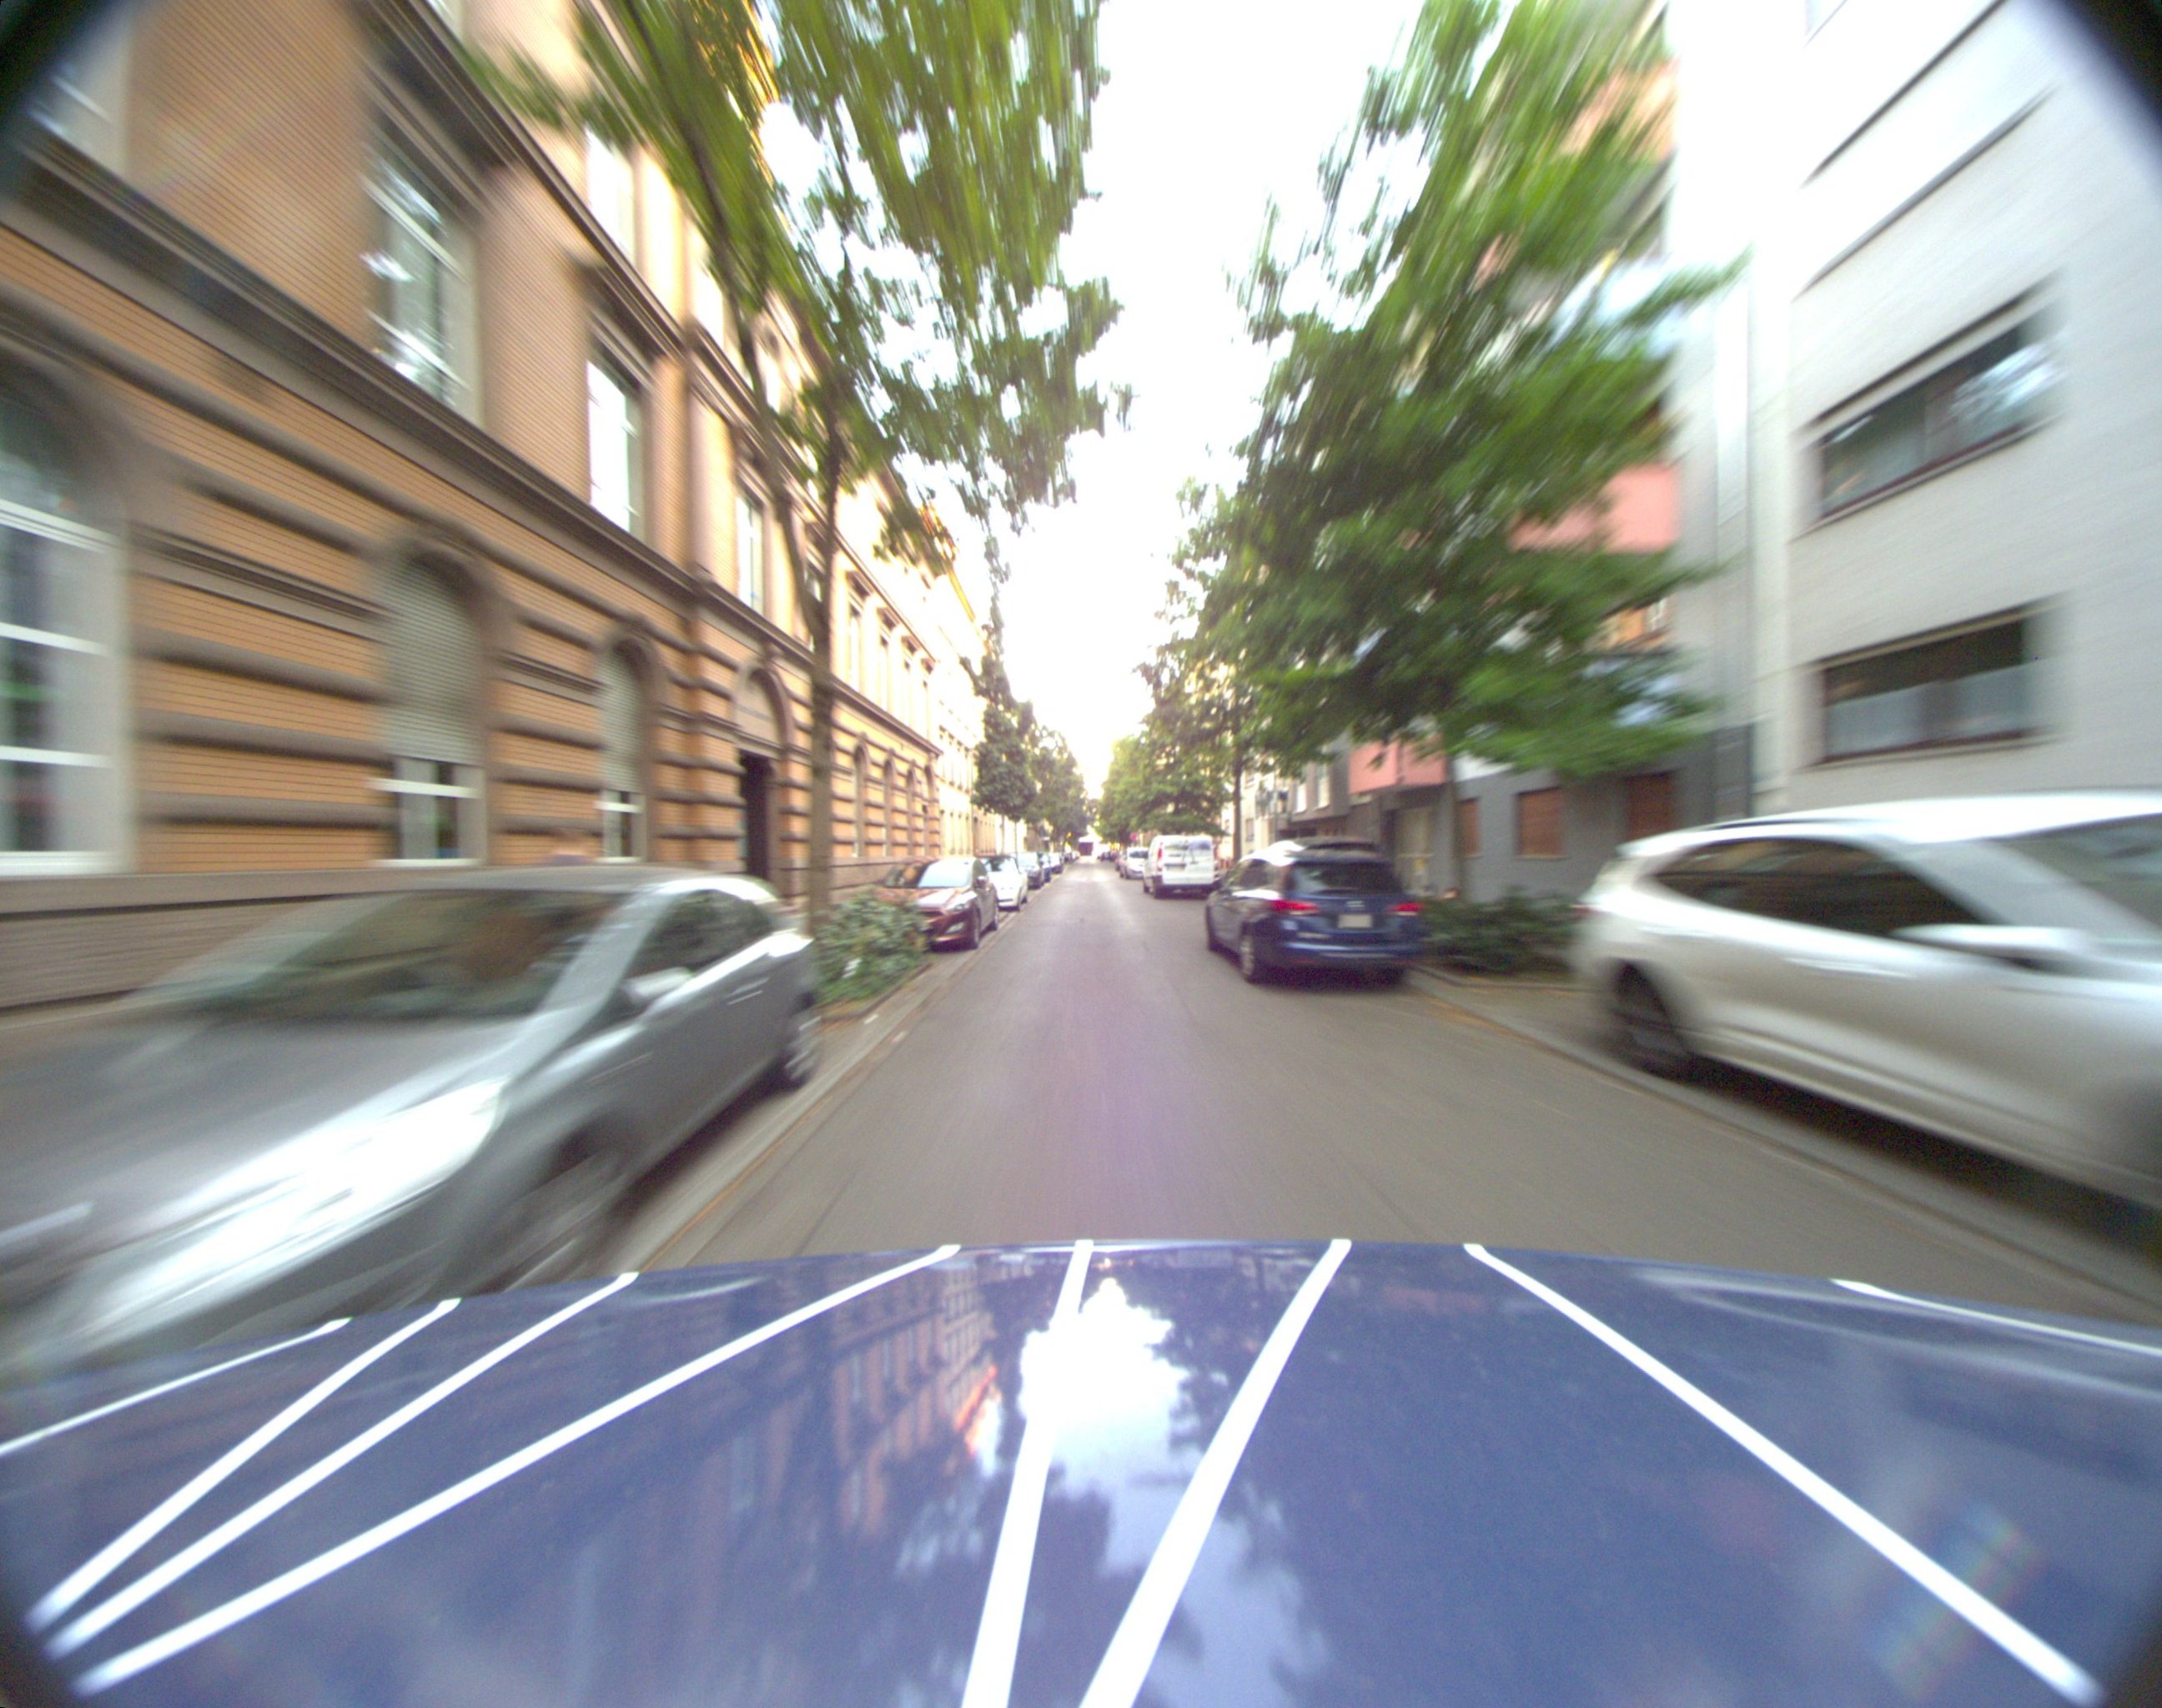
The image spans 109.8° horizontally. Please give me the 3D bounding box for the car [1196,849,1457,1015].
[{"bbox_3d":[2.727,0.746,9.628,1.835,1.508,4.515,-1,1,0],"label":"car"}]

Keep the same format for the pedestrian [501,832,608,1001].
[{"bbox_3d":[-5.313,0.610,7.695,0.628,1.639,0.531,-2,1,1],"label":"pedestrian"}]

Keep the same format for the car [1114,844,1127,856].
[{"bbox_3d":[5.428,-0.587,103.909,1.523,1.493,3.560,-3,1,0],"label":"car"}]

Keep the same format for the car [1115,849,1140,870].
[{"bbox_3d":[3.400,0.399,56.219,1.584,1.412,3.752,-1,1,0],"label":"car"}]

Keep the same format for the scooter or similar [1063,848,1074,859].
[{"bbox_3d":[-1.386,-0.094,85.954,0.673,1.183,1.118,2,2,40],"label":"scooter or similar"}]

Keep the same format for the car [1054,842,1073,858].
[{"bbox_3d":[-2.073,-0.452,90.183,2.018,1.823,4.810,1,1,0],"label":"car"}]

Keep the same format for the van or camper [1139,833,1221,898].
[{"bbox_3d":[3.034,0.301,24.191,1.881,1.832,4.751,-1,1,-1],"label":"van or camper"}]

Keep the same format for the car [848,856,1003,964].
[{"bbox_3d":[-2.450,0.809,13.014,1.726,1.441,4.213,-1,1,0],"label":"car"}]

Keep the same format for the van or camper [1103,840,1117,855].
[{"bbox_3d":[5.031,-1.105,131.654,2.225,2.417,5.659,-1,1,1],"label":"van or camper"}]

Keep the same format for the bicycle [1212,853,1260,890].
[{"bbox_3d":[5.151,0.565,25.181,0.697,1.157,1.826,0,1,43],"label":"bicycle"}]

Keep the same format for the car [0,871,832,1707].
[{"bbox_3d":[-2.581,0.894,3.412,1.702,1.474,3.999,0,1,-2],"label":"car"}]

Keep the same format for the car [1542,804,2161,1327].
[{"bbox_3d":[4.543,0.659,3.381,2.039,1.663,4.647,-5,1,0],"label":"car"}]

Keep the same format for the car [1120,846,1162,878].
[{"bbox_3d":[3.044,0.355,39.457,1.668,1.554,3.998,-1,1,-3],"label":"car"}]

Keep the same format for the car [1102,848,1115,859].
[{"bbox_3d":[4.018,-0.062,111.843,1.728,1.564,4.219,-2,1,1],"label":"car"}]

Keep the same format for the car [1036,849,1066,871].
[{"bbox_3d":[-1.999,0.368,51.683,1.771,1.407,4.473,0,1,1],"label":"car"}]

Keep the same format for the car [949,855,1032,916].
[{"bbox_3d":[-2.326,0.758,20.619,1.698,1.393,4.645,-1,1,0],"label":"car"}]

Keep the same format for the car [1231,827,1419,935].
[{"bbox_3d":[4.410,0.400,14.668,1.998,1.637,4.921,-3,1,0],"label":"car"}]

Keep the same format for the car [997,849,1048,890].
[{"bbox_3d":[-2.271,0.563,30.510,1.716,1.469,4.191,-2,1,0],"label":"car"}]

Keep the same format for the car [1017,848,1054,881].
[{"bbox_3d":[-2.170,0.477,37.047,1.632,1.458,4.244,-1,1,-1],"label":"car"}]
